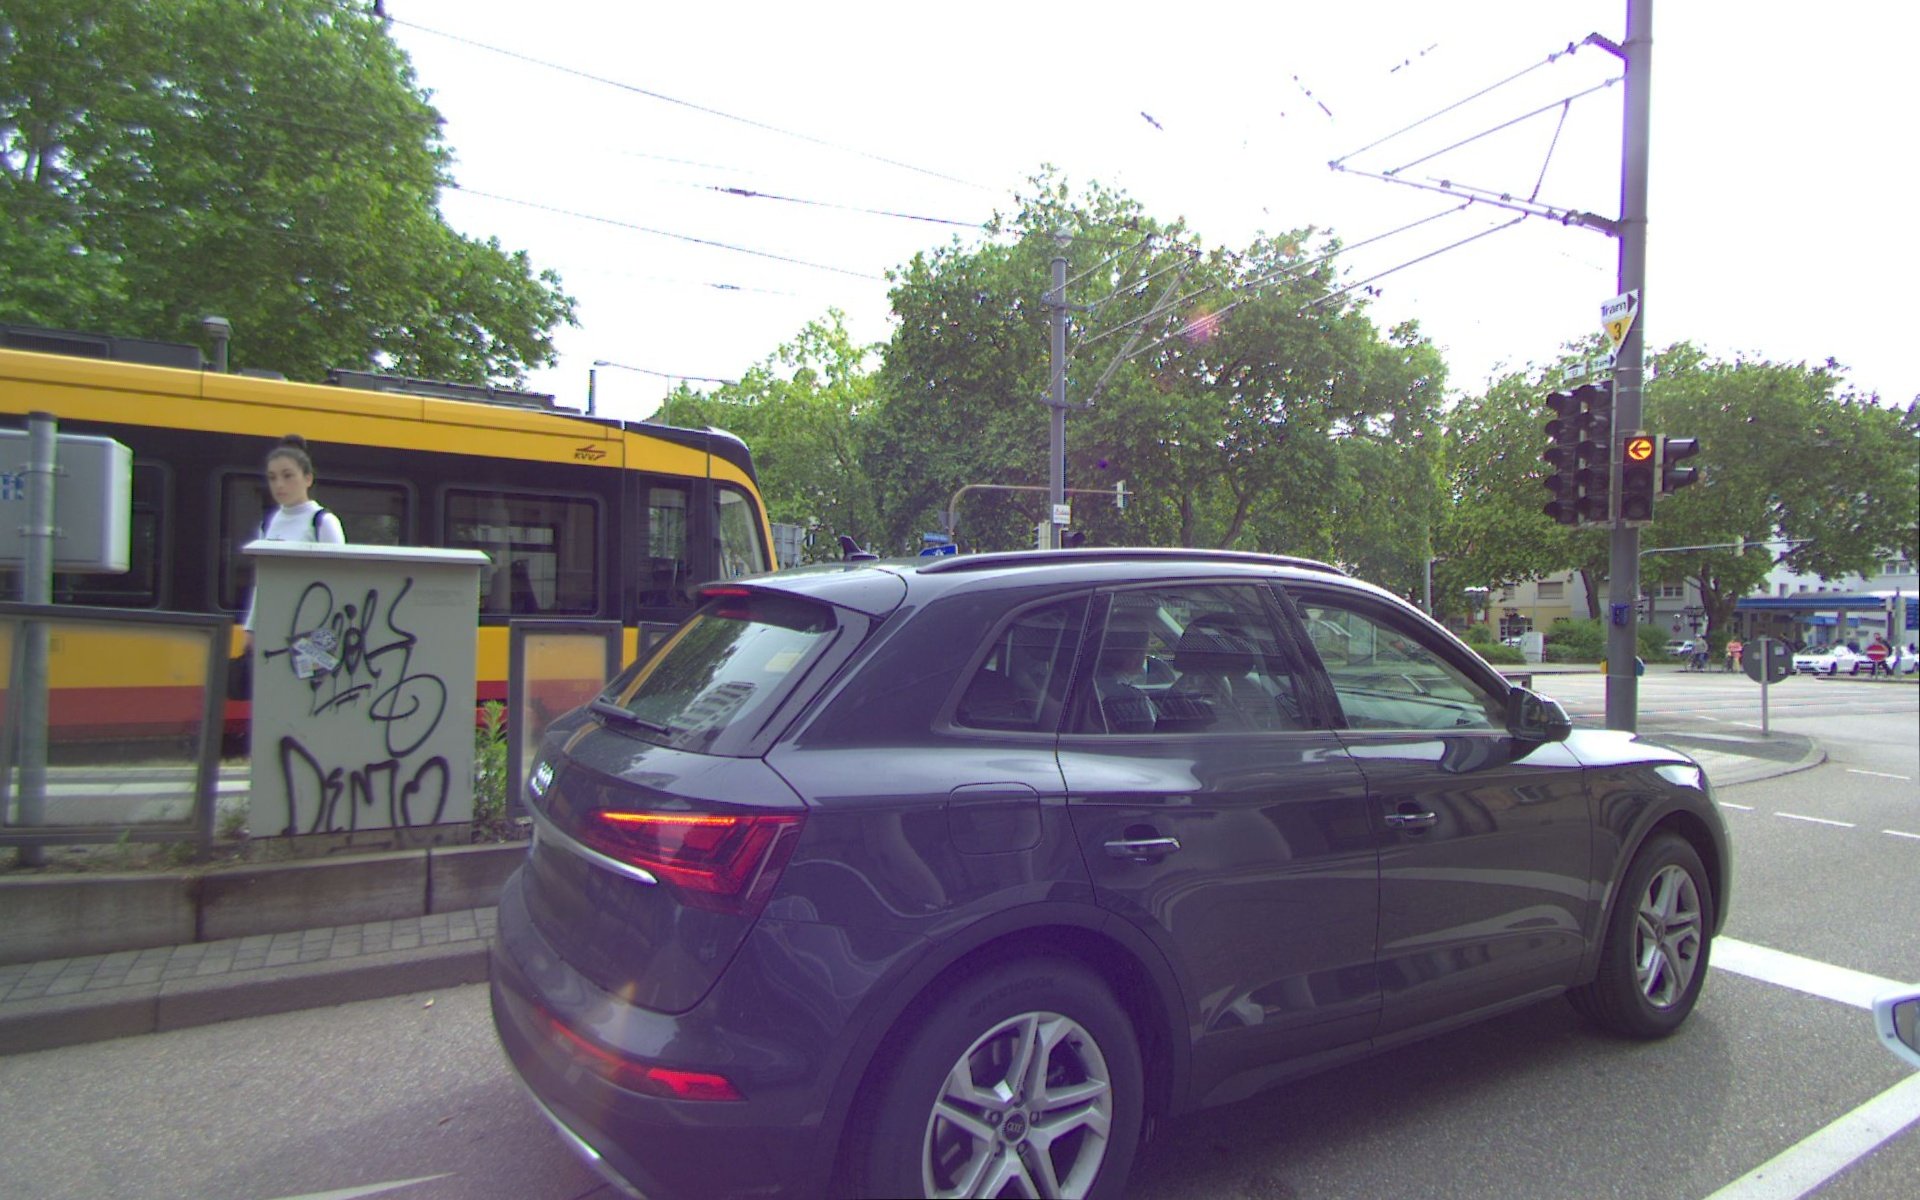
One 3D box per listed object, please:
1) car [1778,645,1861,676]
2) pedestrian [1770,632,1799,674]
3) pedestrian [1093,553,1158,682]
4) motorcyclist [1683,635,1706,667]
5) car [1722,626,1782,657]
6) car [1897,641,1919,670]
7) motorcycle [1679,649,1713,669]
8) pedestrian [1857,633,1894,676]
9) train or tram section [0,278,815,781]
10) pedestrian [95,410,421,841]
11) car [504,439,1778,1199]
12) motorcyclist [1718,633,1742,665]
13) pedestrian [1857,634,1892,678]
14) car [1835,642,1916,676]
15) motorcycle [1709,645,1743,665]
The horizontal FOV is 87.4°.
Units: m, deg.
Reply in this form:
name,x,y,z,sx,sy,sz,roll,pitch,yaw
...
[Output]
name,x,y,z,sx,sy,sz,roll,pitch,yaw
car,41.359,2.903,48.321,4.025,1.338,1.739,2,0,-29
pedestrian,34.418,2.191,41.931,0.732,1.713,0.681,2,0,-25
pedestrian,2.630,0.275,15.965,0.658,1.976,0.732,2,0,-30
motorcyclist,35.795,2.477,48.936,0.863,1.540,0.617,2,-1,-30
car,54.587,2.875,69.240,3.953,2.040,1.984,2,-1,-30
car,52.773,3.027,54.594,3.593,1.497,1.649,2,0,-29
motorcycle,35.936,2.855,49.018,1.928,0.941,0.604,2,-1,-30
pedestrian,37.326,2.208,40.966,0.864,1.735,0.868,2,-1,-28
train or tram section,-8.907,-0.575,8.552,15.026,3.802,3.314,2,0,-31
pedestrian,-3.139,0.102,4.545,0.709,1.692,0.977,2,0,31
car,0.819,0.618,3.448,4.177,1.658,1.725,2,0,-30
motorcyclist,37.226,2.361,48.562,0.863,1.540,0.617,2,-1,-30
pedestrian,36.864,2.245,40.485,0.682,1.735,0.864,1,-1,-26
car,46.969,3.016,51.511,3.953,1.615,1.984,2,0,-30
motorcycle,36.921,2.662,48.423,1.928,0.941,0.604,2,-1,-30
